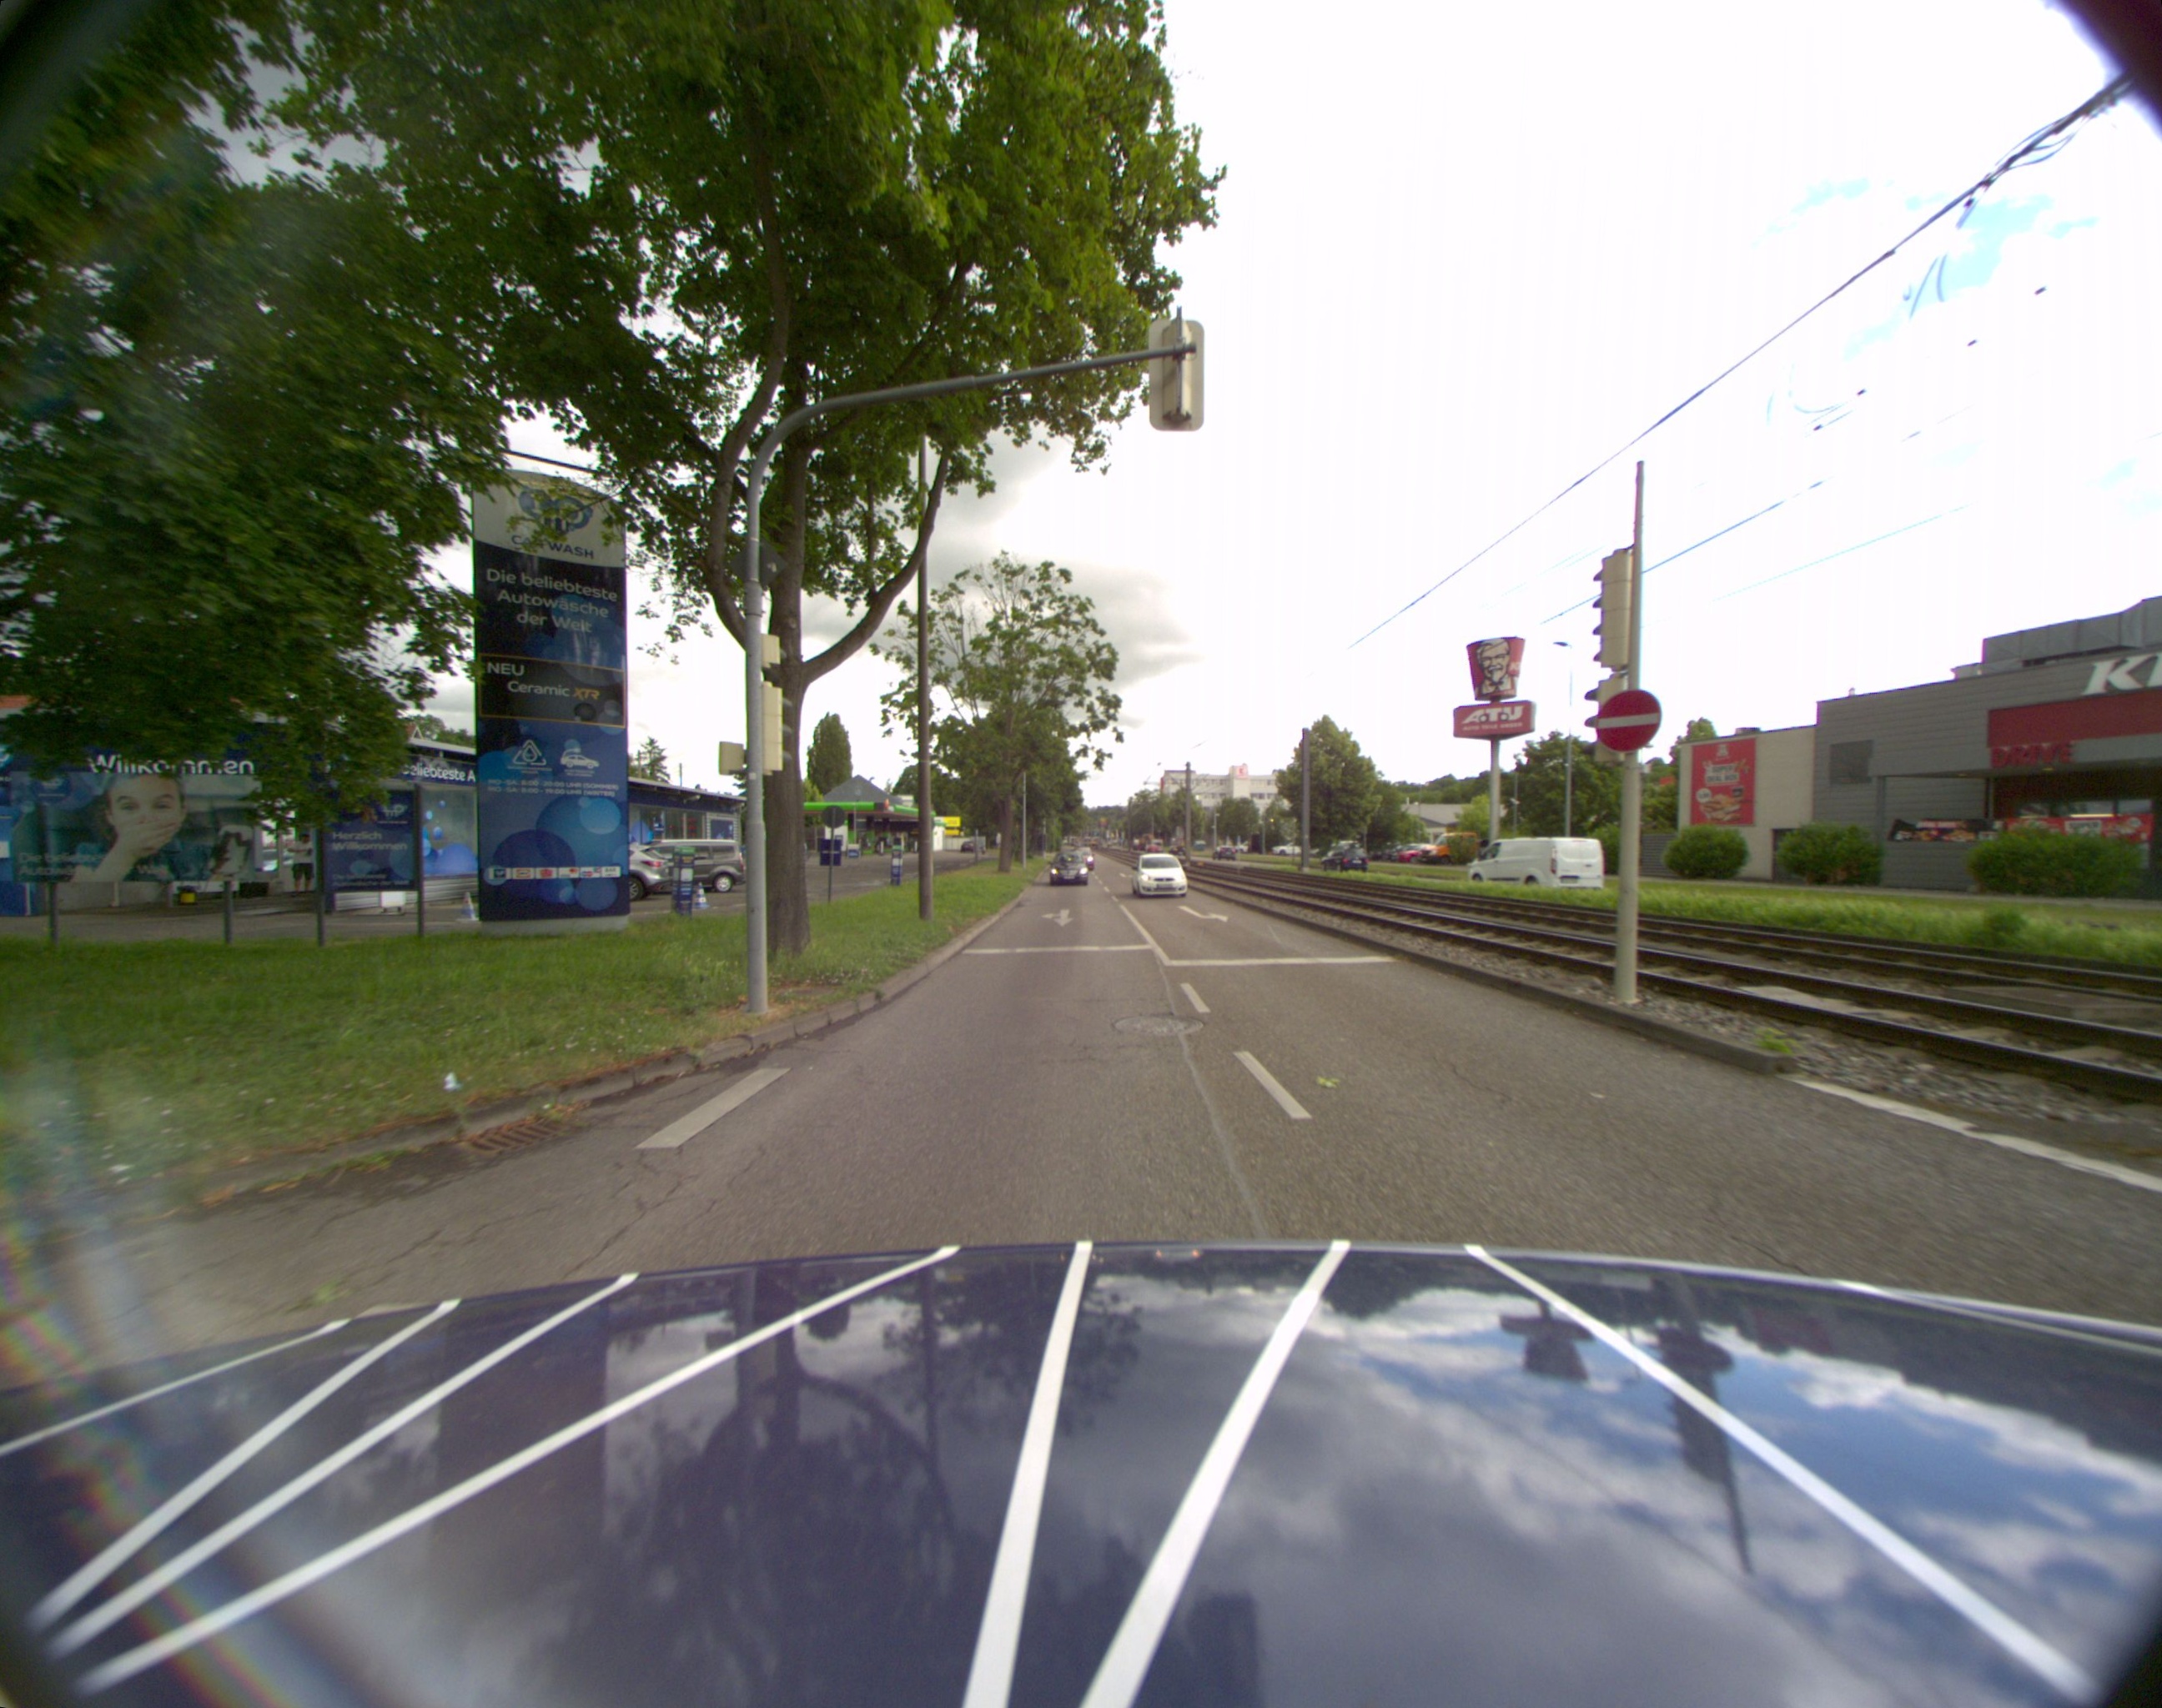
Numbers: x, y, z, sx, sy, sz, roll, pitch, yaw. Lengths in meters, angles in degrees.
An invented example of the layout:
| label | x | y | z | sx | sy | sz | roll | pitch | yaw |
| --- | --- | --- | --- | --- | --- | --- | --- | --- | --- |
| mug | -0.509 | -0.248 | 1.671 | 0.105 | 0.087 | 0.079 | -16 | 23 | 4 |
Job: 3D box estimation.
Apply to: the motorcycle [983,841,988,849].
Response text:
| label | x | y | z | sx | sy | sz | roll | pitch | yaw |
| --- | --- | --- | --- | --- | --- | --- | --- | --- | --- |
| motorcycle | -13.113 | -1.241 | 104.085 | 0.704 | 1.180 | 2.386 | 0 | 1 | -7 |

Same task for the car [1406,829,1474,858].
| label | x | y | z | sx | sy | sz | roll | pitch | yaw |
| --- | --- | --- | --- | --- | --- | --- | --- | --- | --- |
| car | 26.090 | -0.768 | 55.308 | 3.997 | 1.907 | 1.999 | -3 | 2 | -1 |

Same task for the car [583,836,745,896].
| label | x | y | z | sx | sy | sz | roll | pitch | yaw |
| --- | --- | --- | --- | --- | --- | --- | --- | --- | --- |
| car | -13.714 | 0.324 | 25.163 | 4.393 | 1.811 | 1.746 | -1 | 2 | -43 |

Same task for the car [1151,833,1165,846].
| label | x | y | z | sx | sy | sz | roll | pitch | yaw |
| --- | --- | --- | --- | --- | --- | --- | --- | --- | --- |
| car | 14.709 | -2.758 | 144.860 | 1.874 | 2.485 | 5.997 | 1 | 1 | -2 |

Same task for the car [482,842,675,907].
| label | x | y | z | sx | sy | sz | roll | pitch | yaw |
| --- | --- | --- | --- | --- | --- | --- | --- | --- | --- |
| car | -13.995 | 0.526 | 21.461 | 4.217 | 1.687 | 1.837 | 0 | 1 | -20 |

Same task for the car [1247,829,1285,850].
| label | x | y | z | sx | sy | sz | roll | pitch | yaw |
| --- | --- | --- | --- | --- | --- | --- | --- | --- | --- |
| car | 24.791 | -1.987 | 102.034 | 4.481 | 2.733 | 2.288 | 1 | 2 | -1 |

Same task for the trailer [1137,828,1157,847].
| label | x | y | z | sx | sy | sz | roll | pitch | yaw |
| --- | --- | --- | --- | --- | --- | --- | --- | --- | --- |
| trailer | 14.302 | -3.595 | 166.292 | 2.678 | 3.875 | 14.420 | 2 | 1 | -1 |

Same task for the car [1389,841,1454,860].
| label | x | y | z | sx | sy | sz | roll | pitch | yaw |
| --- | --- | --- | --- | --- | --- | --- | --- | --- | --- |
| car | 25.927 | -0.312 | 57.938 | 3.997 | 1.229 | 1.999 | -3 | 2 | -1 |

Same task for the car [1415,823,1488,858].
| label | x | y | z | sx | sy | sz | roll | pitch | yaw |
| --- | --- | --- | --- | --- | --- | --- | --- | --- | --- |
| car | 25.648 | -0.949 | 52.702 | 3.997 | 2.153 | 2.058 | -3 | 2 | -1 |

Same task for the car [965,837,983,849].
| label | x | y | z | sx | sy | sz | roll | pitch | yaw |
| --- | --- | --- | --- | --- | --- | --- | --- | --- | --- |
| car | -15.405 | -1.625 | 109.485 | 1.999 | 1.629 | 4.325 | 2 | 1 | 0 |

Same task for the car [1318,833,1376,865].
| label | x | y | z | sx | sy | sz | roll | pitch | yaw |
| --- | --- | --- | --- | --- | --- | --- | --- | --- | --- |
| car | 17.056 | -0.339 | 48.924 | 1.999 | 2.002 | 4.104 | 0 | 1 | -5 |

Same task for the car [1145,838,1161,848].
| label | x | y | z | sx | sy | sz | roll | pitch | yaw |
| --- | --- | --- | --- | --- | --- | --- | --- | --- | --- |
| car | 11.756 | -1.854 | 124.037 | 1.788 | 1.573 | 4.479 | 1 | 1 | -5 |

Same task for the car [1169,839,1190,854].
| label | x | y | z | sx | sy | sz | roll | pitch | yaw |
| --- | --- | --- | --- | --- | --- | --- | --- | --- | --- |
| car | 13.878 | -1.108 | 107.232 | 1.999 | 2.002 | 3.997 | 1 | 1 | -5 |

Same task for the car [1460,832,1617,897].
| label | x | y | z | sx | sy | sz | roll | pitch | yaw |
| --- | --- | --- | --- | --- | --- | --- | --- | --- | --- |
| car | 15.441 | 0.278 | 26.048 | 2.000 | 2.002 | 4.881 | 0 | 1 | -7 |

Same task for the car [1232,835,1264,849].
| label | x | y | z | sx | sy | sz | roll | pitch | yaw |
| --- | --- | --- | --- | --- | --- | --- | --- | --- | --- |
| car | 24.452 | -1.786 | 111.343 | 4.355 | 1.908 | 2.000 | -3 | 2 | 2 |

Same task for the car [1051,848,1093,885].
| label | x | y | z | sx | sy | sz | roll | pitch | yaw |
| --- | --- | --- | --- | --- | --- | --- | --- | --- | --- |
| car | -0.378 | 0.542 | 36.604 | 1.786 | 1.614 | 3.999 | -1 | 1 | 1 |

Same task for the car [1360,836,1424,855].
| label | x | y | z | sx | sy | sz | roll | pitch | yaw |
| --- | --- | --- | --- | --- | --- | --- | --- | --- | --- |
| car | 25.853 | -0.750 | 63.250 | 4.385 | 1.346 | 2.195 | -3 | 2 | -1 |

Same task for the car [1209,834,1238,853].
| label | x | y | z | sx | sy | sz | roll | pitch | yaw |
| --- | --- | --- | --- | --- | --- | --- | --- | --- | --- |
| car | 15.394 | -1.143 | 82.215 | 1.999 | 2.002 | 4.244 | 0 | 1 | -5 |

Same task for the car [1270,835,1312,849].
| label | x | y | z | sx | sy | sz | roll | pitch | yaw |
| --- | --- | --- | --- | --- | --- | --- | --- | --- | --- |
| car | 25.611 | -1.457 | 92.658 | 4.482 | 1.498 | 1.794 | -3 | 2 | -4 |

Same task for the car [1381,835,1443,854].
| label | x | y | z | sx | sy | sz | roll | pitch | yaw |
| --- | --- | --- | --- | --- | --- | --- | --- | --- | --- |
| car | 26.326 | -0.774 | 60.556 | 3.997 | 1.360 | 2.093 | -3 | 2 | -1 |

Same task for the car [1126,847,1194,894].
| label | x | y | z | sx | sy | sz | roll | pitch | yaw |
| --- | --- | --- | --- | --- | --- | --- | --- | --- | --- |
| car | 2.726 | 0.536 | 27.124 | 1.787 | 1.436 | 3.998 | -3 | 1 | -3 |

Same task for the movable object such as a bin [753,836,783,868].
| label | x | y | z | sx | sy | sz | roll | pitch | yaw |
| --- | --- | --- | --- | --- | --- | --- | --- | --- | --- |
| movable object such as a bin | -18.022 | -0.125 | 43.777 | 1.162 | 1.808 | 1.454 | 0 | 2 | -5 |

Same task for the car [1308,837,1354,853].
| label | x | y | z | sx | sy | sz | roll | pitch | yaw |
| --- | --- | --- | --- | --- | --- | --- | --- | --- | --- |
| car | 25.625 | -0.959 | 78.028 | 3.997 | 1.498 | 2.001 | -3 | 2 | -1 |

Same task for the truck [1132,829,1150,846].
| label | x | y | z | sx | sy | sz | roll | pitch | yaw |
| --- | --- | --- | --- | --- | --- | --- | --- | --- | --- |
| truck | 13.974 | -3.863 | 177.749 | 2.900 | 3.944 | 8.626 | 0 | 1 | -4 |
